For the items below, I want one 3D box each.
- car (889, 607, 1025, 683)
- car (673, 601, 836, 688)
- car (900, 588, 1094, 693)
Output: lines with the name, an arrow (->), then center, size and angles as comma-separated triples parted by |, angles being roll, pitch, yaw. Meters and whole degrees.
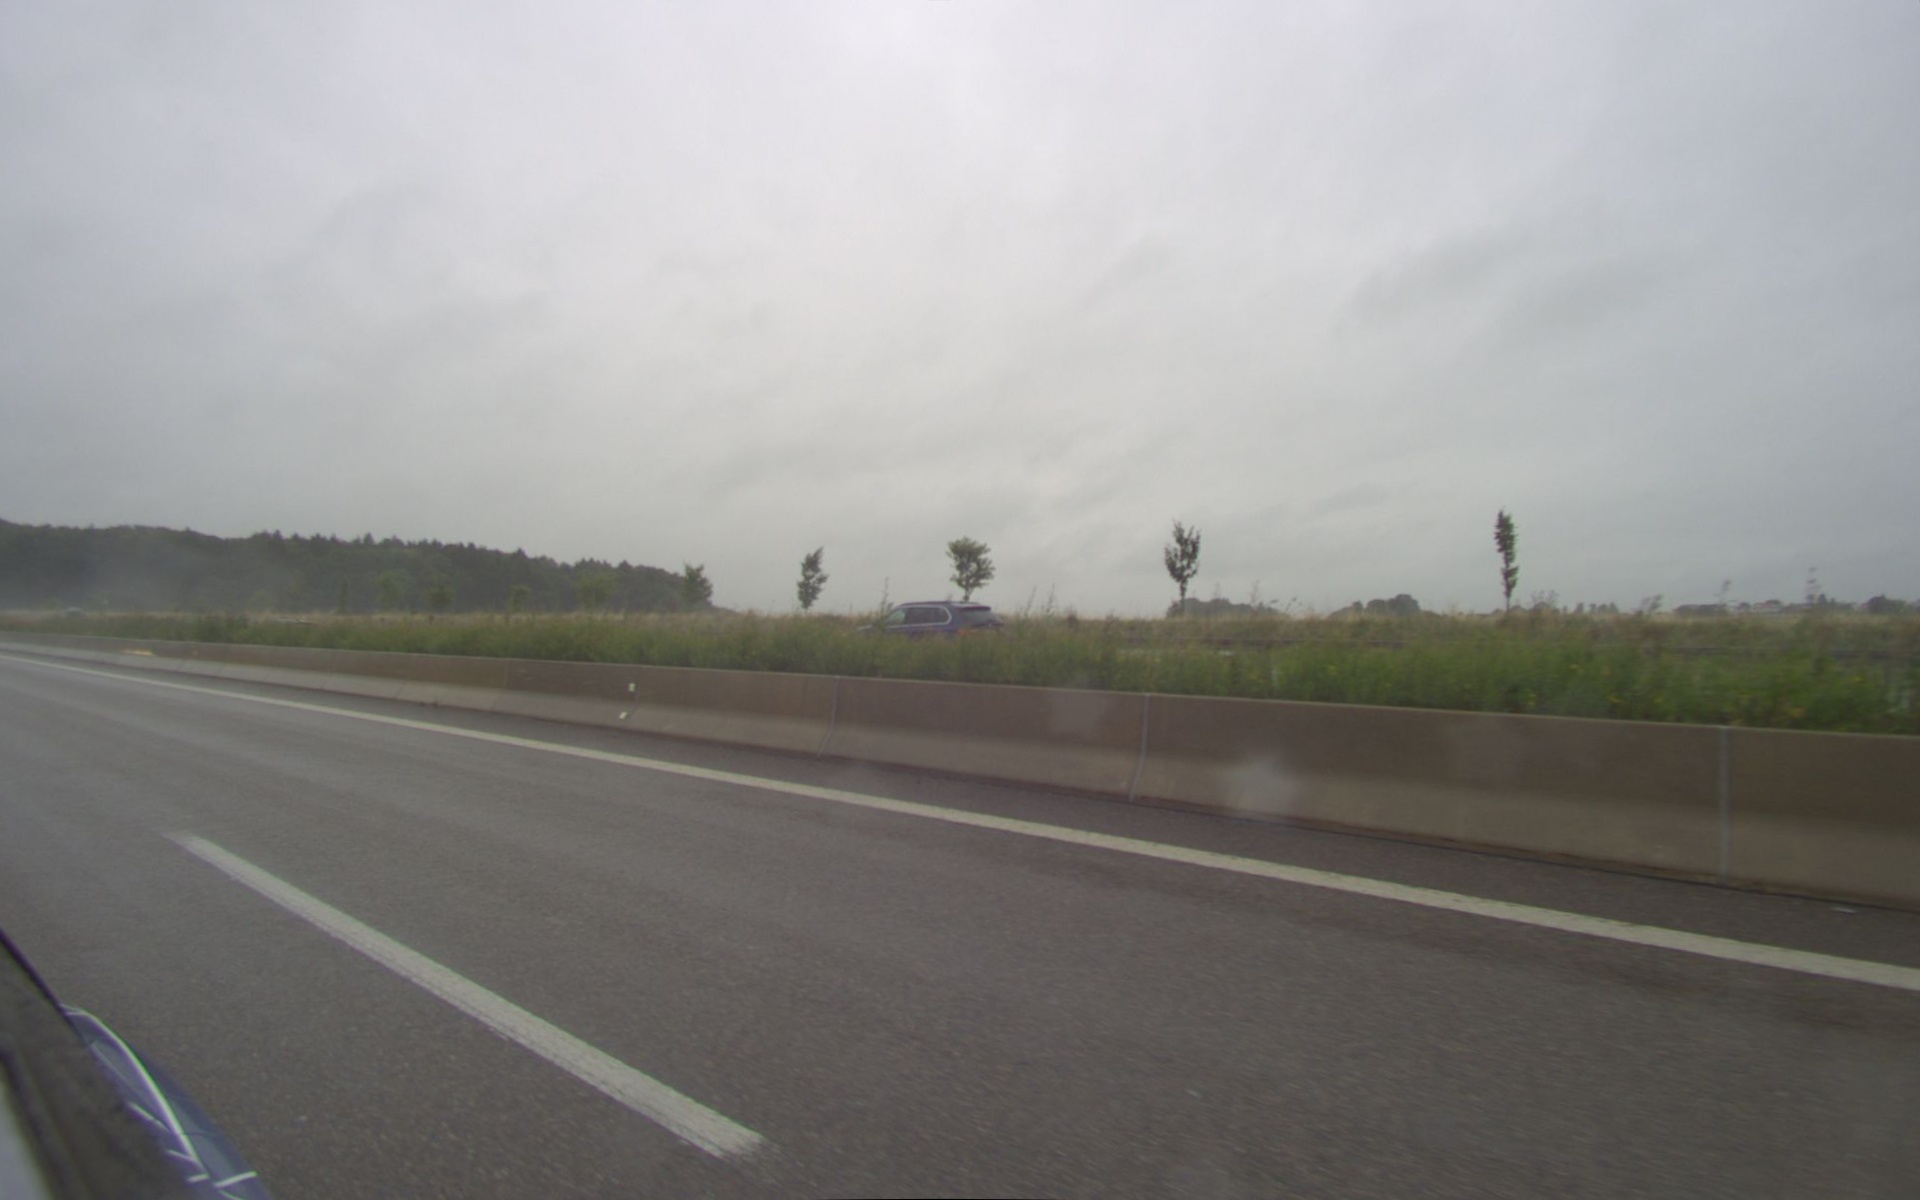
car -> -0.106, 1.064, 24.908 | 3.171, 1.740, 1.479 | -1, -1, 41
car -> -3.991, 0.806, 19.471 | 3.171, 1.536, 1.430 | -1, -1, 41
car -> 0.494, 0.540, 14.854 | 2.784, 1.408, 1.111 | 0, 0, 41
